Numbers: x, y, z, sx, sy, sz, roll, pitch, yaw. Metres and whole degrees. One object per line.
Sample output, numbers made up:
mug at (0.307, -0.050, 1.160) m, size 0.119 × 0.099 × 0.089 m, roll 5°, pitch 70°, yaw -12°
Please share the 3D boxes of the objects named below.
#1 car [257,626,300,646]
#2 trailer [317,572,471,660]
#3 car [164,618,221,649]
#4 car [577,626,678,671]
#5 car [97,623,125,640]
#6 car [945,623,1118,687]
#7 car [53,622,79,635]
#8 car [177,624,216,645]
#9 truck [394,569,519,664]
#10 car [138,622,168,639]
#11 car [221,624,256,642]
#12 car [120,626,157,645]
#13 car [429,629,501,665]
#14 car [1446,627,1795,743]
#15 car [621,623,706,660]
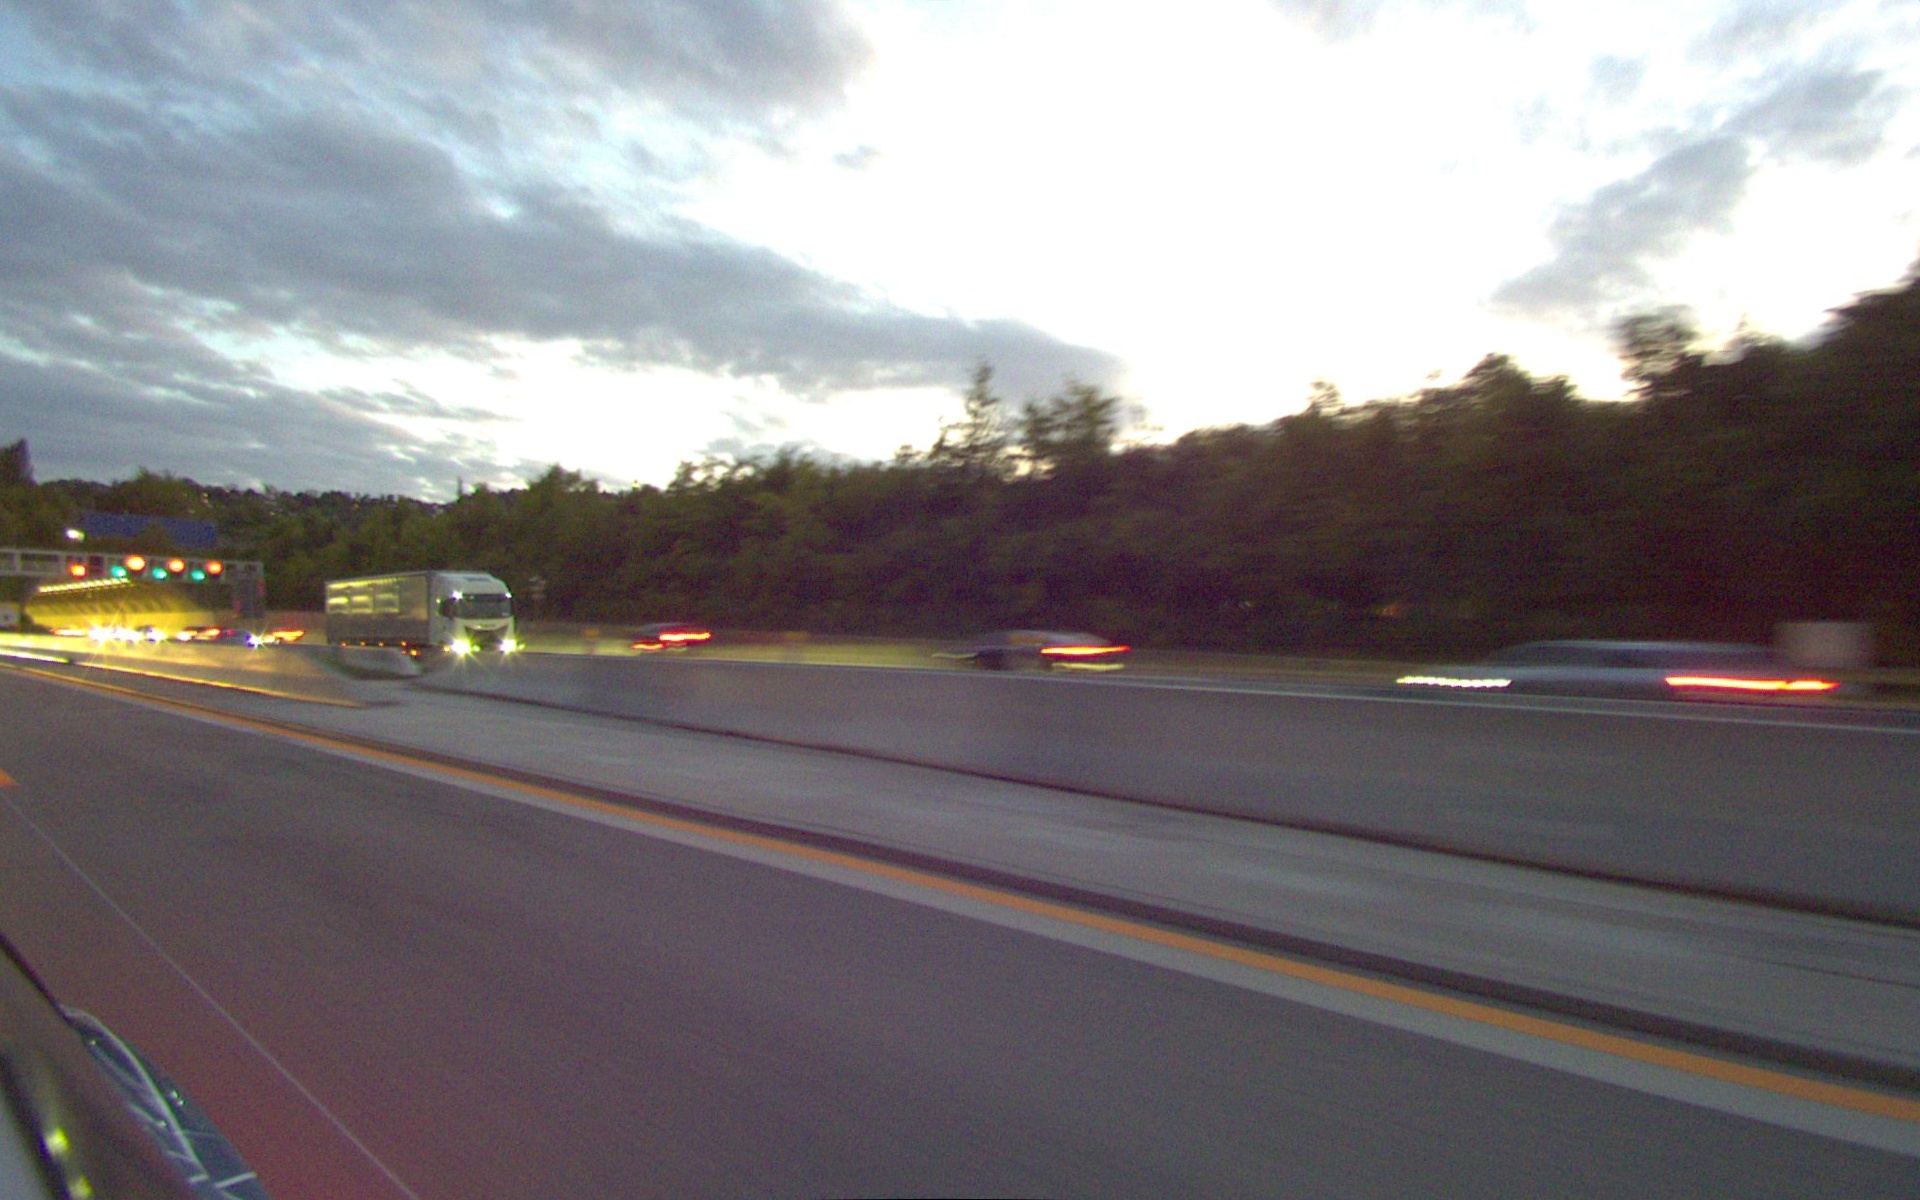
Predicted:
car at (-55.502, 2.929, 82.413) m, size 4.700 × 1.496 × 1.791 m, roll -1°, pitch 0°, yaw 42°
trailer at (-27.605, 0.732, 48.954) m, size 11.831 × 3.811 × 2.769 m, roll -1°, pitch 0°, yaw 42°
car at (-50.409, 2.164, 66.426) m, size 4.699 × 1.898 × 2.068 m, roll -1°, pitch 0°, yaw 42°
car at (-13.672, 1.924, 41.468) m, size 4.750 × 1.650 × 1.785 m, roll -1°, pitch 0°, yaw 42°
car at (-79.316, 2.933, 94.514) m, size 3.823 × 1.492 × 1.490 m, roll -1°, pitch 0°, yaw 42°
car at (2.037, 1.548, 30.003) m, size 5.170 × 1.650 × 1.718 m, roll -1°, pitch 0°, yaw 42°
car at (-114.491, 3.651, 129.584) m, size 4.873 × 1.600 × 1.789 m, roll -1°, pitch 0°, yaw 40°
car at (-68.019, 3.055, 90.167) m, size 4.806 × 1.751 × 1.880 m, roll -1°, pitch 0°, yaw 42°
truck at (-21.796, 0.678, 43.669) m, size 6.303 × 3.803 × 2.772 m, roll -1°, pitch 0°, yaw 43°
car at (-92.409, 3.479, 115.884) m, size 4.666 × 1.735 × 1.733 m, roll -1°, pitch 0°, yaw 40°
car at (-70.864, 3.220, 99.355) m, size 4.700 × 1.675 × 1.791 m, roll -1°, pitch 0°, yaw 42°
car at (-69.447, 2.975, 85.518) m, size 3.999 × 1.492 × 1.768 m, roll -1°, pitch 0°, yaw 42°
car at (-25.388, 2.381, 51.798) m, size 4.750 × 1.650 × 1.661 m, roll -1°, pitch 0°, yaw 42°
car at (11.328, 1.349, 17.619) m, size 4.891 × 1.650 × 1.718 m, roll -1°, pitch 0°, yaw 42°
car at (-14.652, 1.985, 49.897) m, size 4.750 × 1.650 × 1.785 m, roll -1°, pitch 0°, yaw 42°
